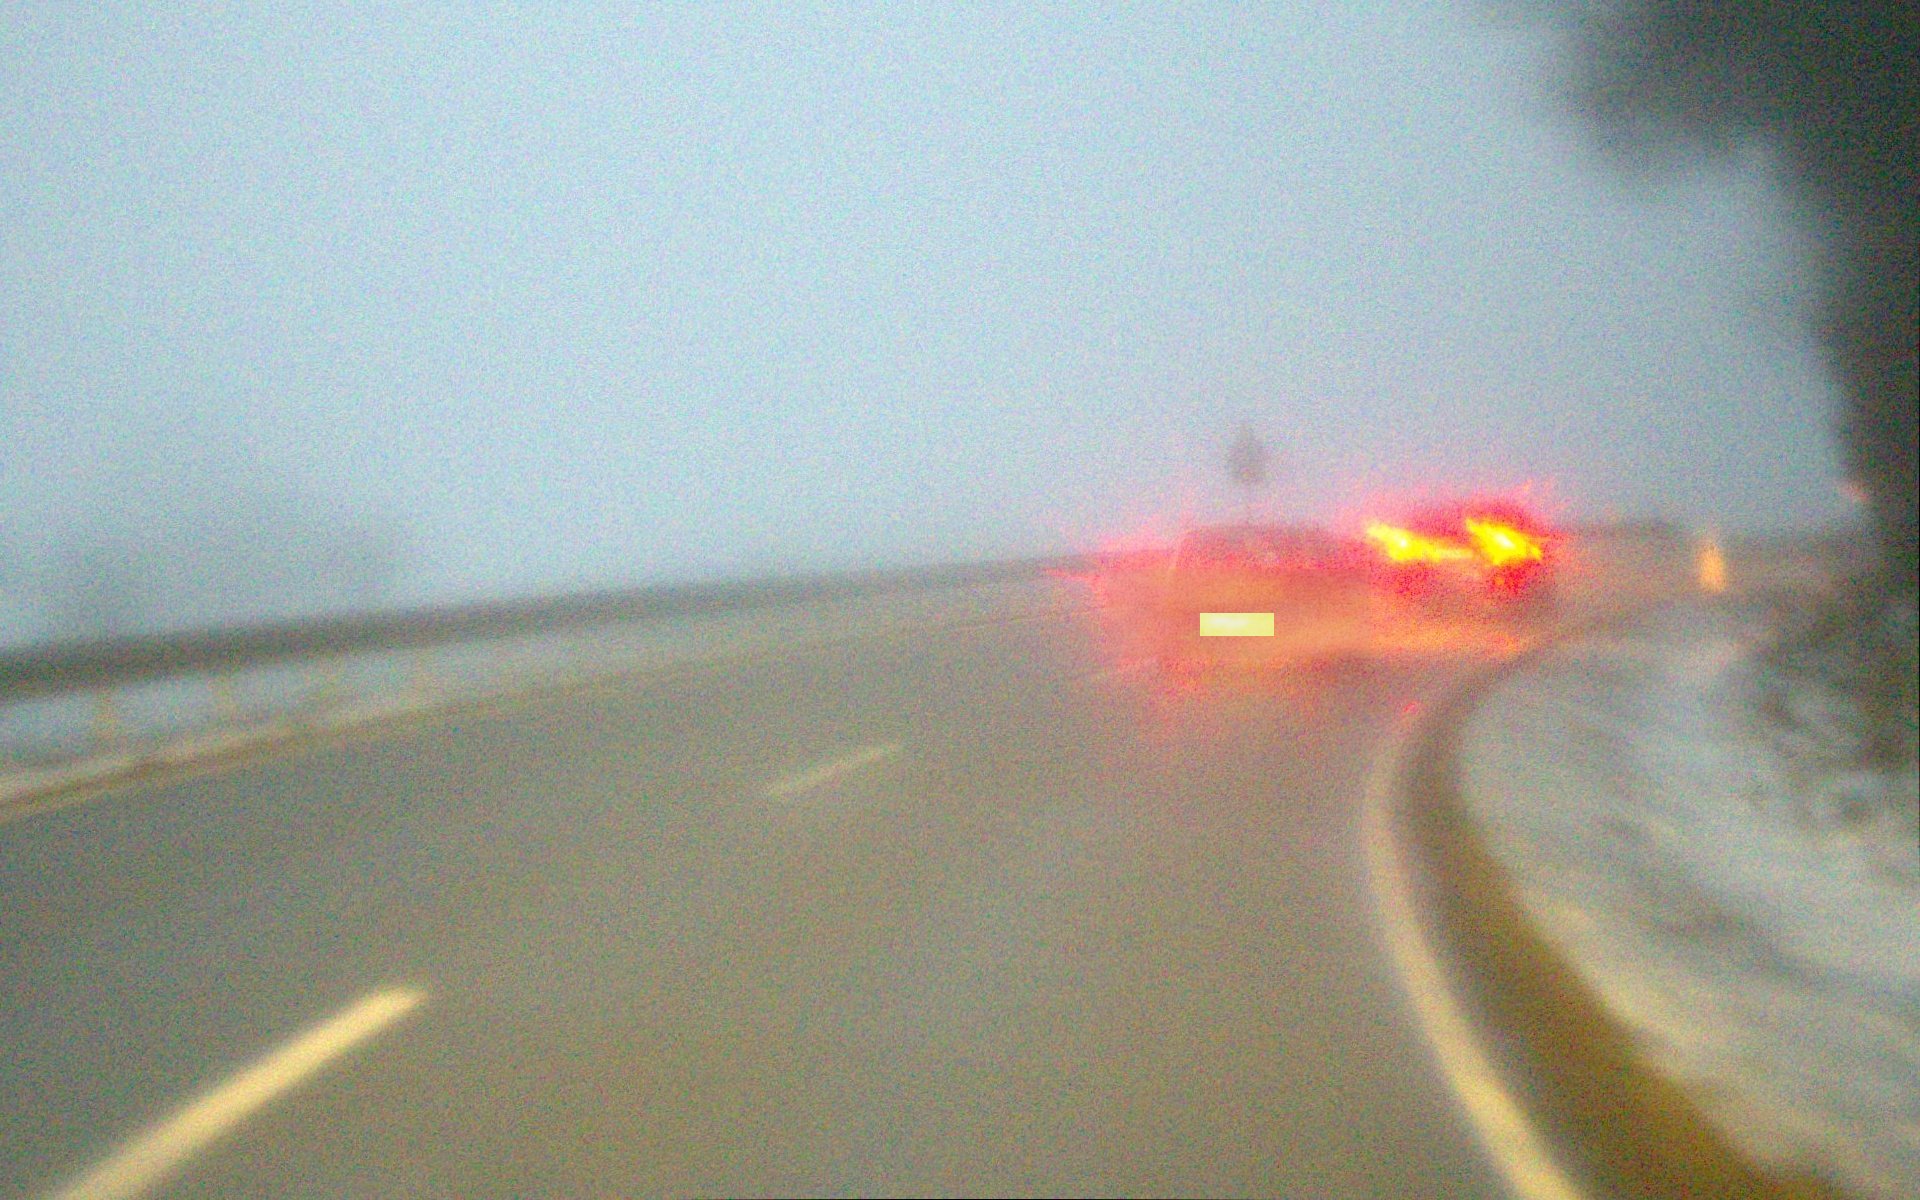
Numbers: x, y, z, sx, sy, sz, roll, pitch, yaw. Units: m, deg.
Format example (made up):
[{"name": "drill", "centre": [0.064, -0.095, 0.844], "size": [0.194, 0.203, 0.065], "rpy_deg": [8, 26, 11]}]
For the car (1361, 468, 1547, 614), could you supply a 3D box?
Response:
[{"name": "car", "centre": [6.462, -0.804, 44.637], "size": [1.995, 1.776, 3.998], "rpy_deg": [-1, 2, 14]}]

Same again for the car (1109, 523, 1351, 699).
[{"name": "car", "centre": [2.616, 0.059, 32.471], "size": [1.946, 1.376, 3.999], "rpy_deg": [-3, 2, 9]}]
